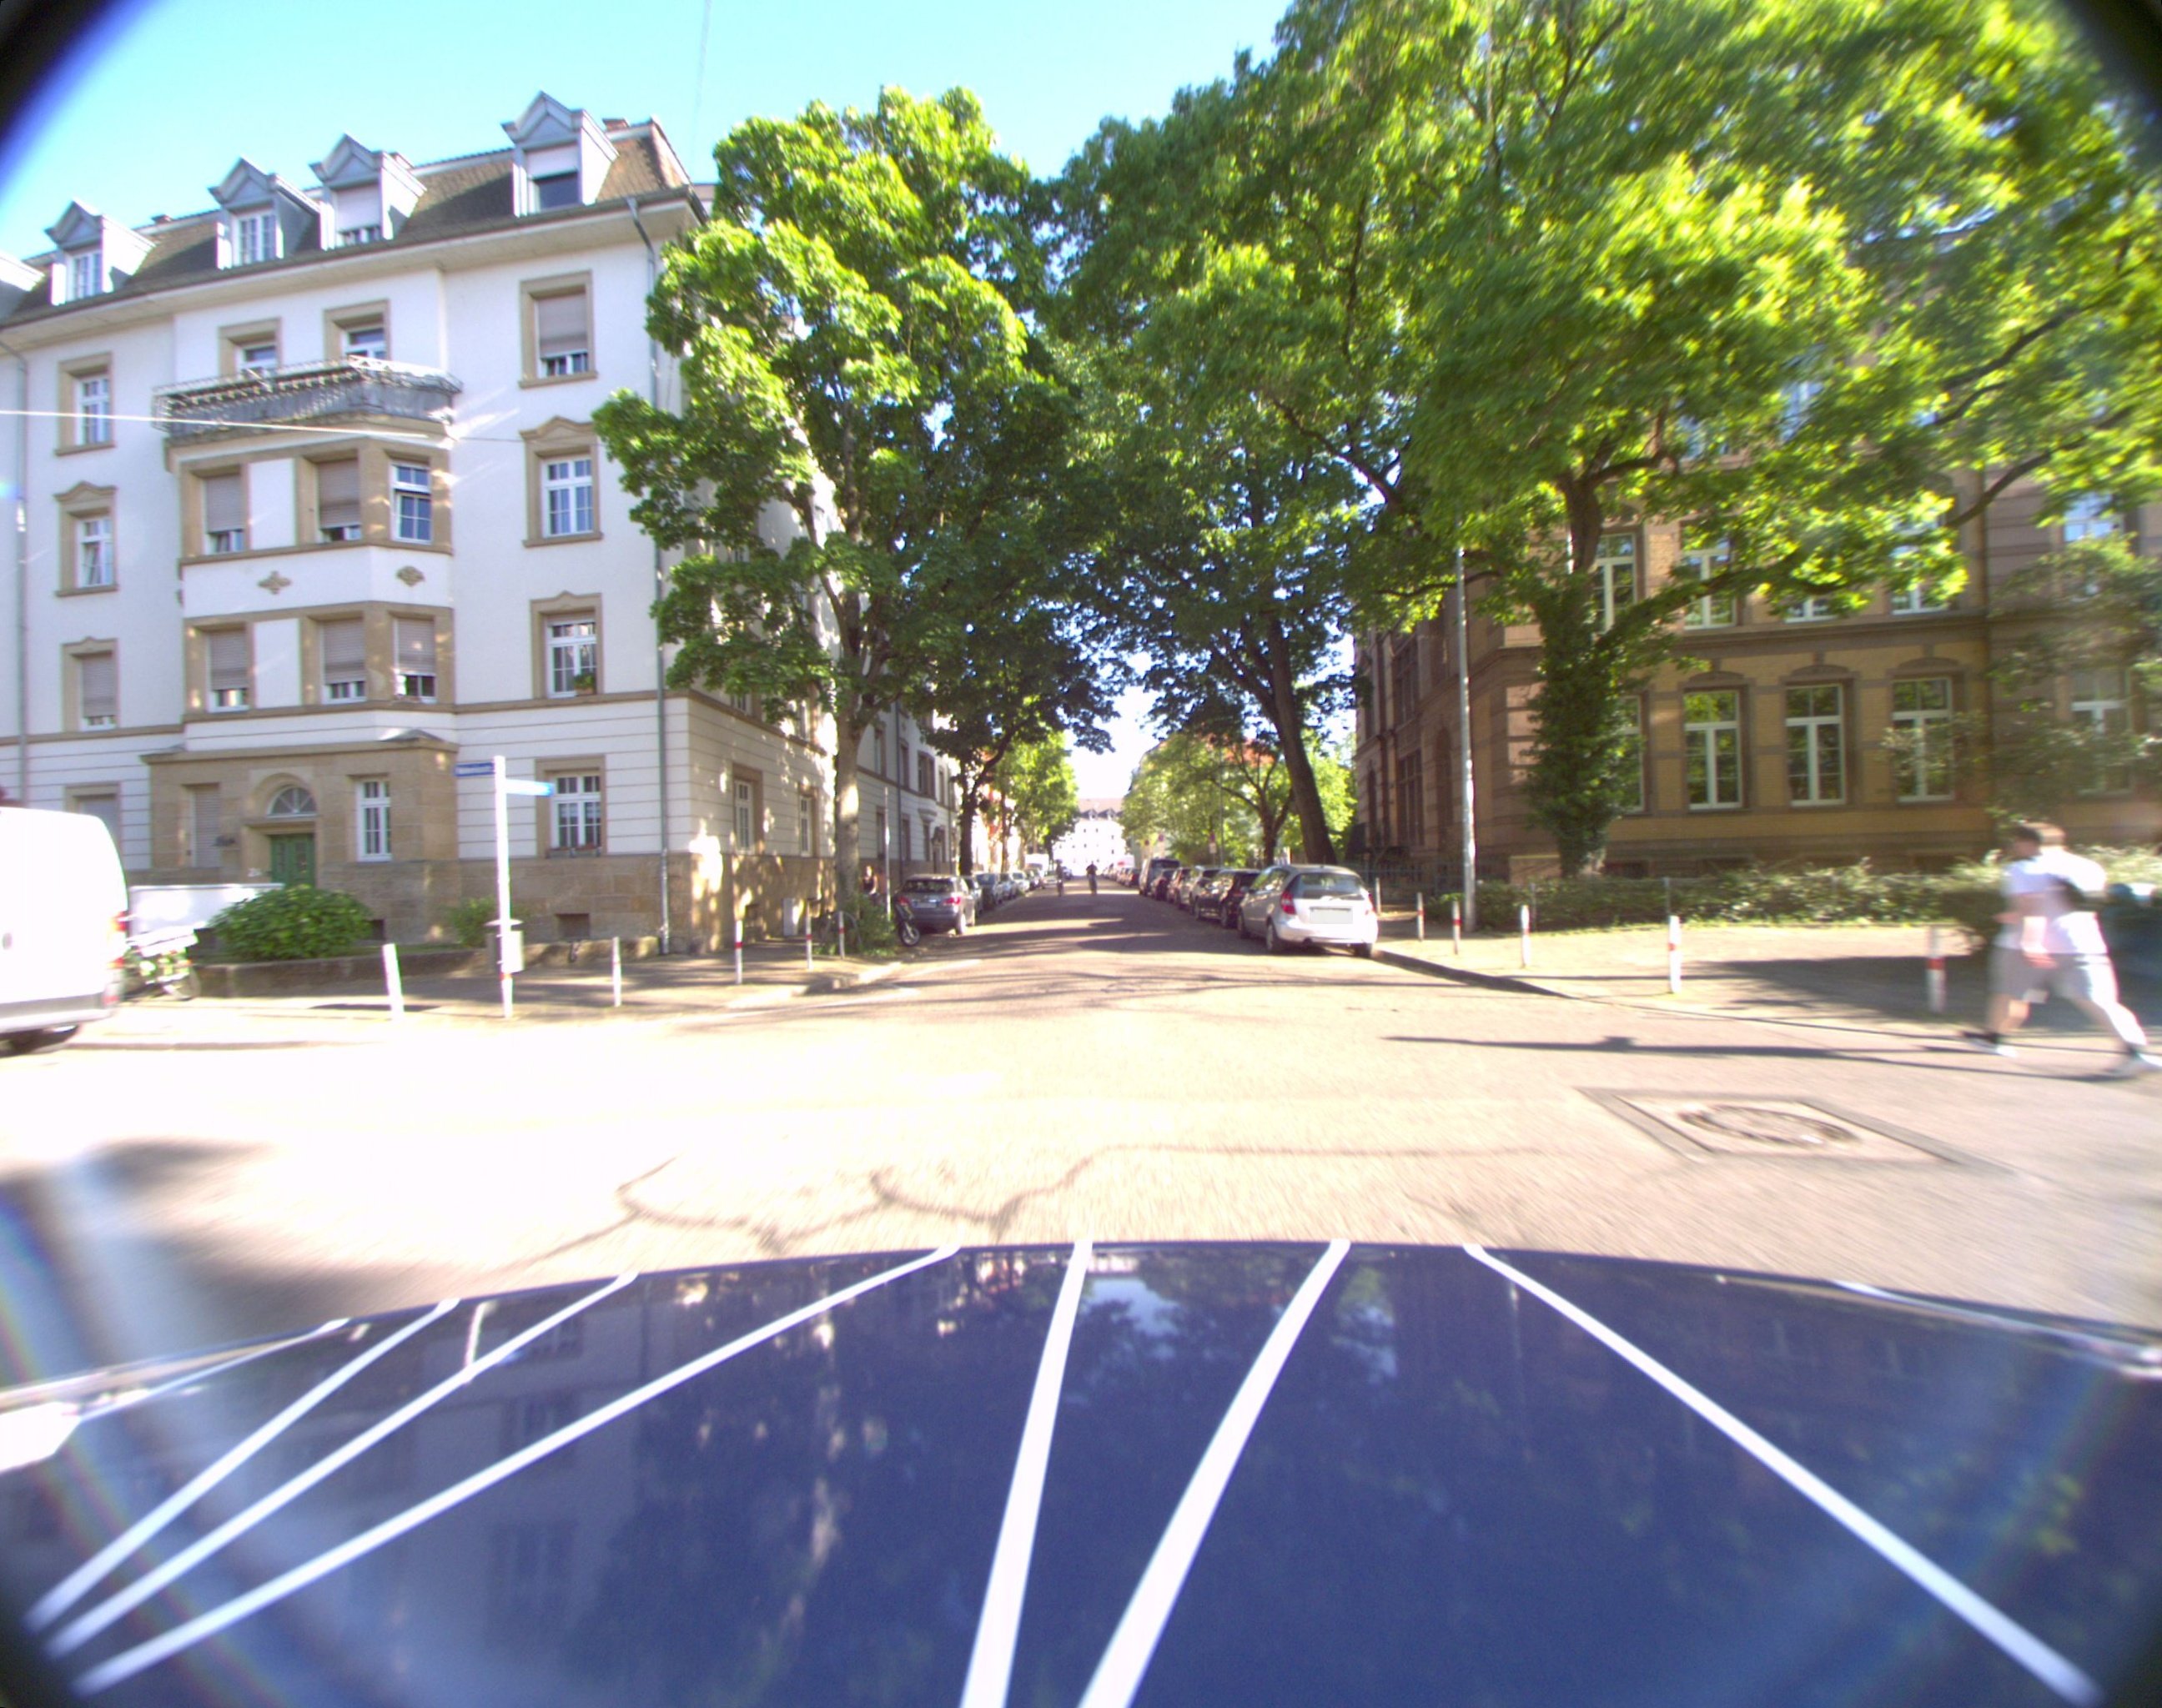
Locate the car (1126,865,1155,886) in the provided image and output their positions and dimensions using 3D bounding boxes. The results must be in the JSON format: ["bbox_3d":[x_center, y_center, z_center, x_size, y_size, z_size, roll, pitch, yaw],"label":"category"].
[{"bbox_3d":[4.248,1.521,54.733,1.739,1.455,4.000,-2,-1,0],"label":"car"}]

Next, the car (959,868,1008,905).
[{"bbox_3d":[-4.414,1.433,35.017,1.639,1.523,4.000,-2,-1,0],"label":"car"}]

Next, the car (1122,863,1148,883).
[{"bbox_3d":[4.285,1.497,61.086,1.755,1.464,4.000,-3,-1,0],"label":"car"}]

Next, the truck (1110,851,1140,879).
[{"bbox_3d":[4.486,1.130,78.877,2.395,2.641,7.093,-2,-1,-1],"label":"truck"}]

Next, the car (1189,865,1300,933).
[{"bbox_3d":[4.076,1.079,19.586,1.586,1.455,3.997,1,0,-6],"label":"car"}]

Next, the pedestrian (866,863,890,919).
[{"bbox_3d":[-6.810,1.225,25.459,0.529,1.834,0.707,-2,0,1],"label":"pedestrian"}]

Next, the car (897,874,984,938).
[{"bbox_3d":[-3.767,1.349,21.008,1.685,1.531,4.134,-1,-1,-1],"label":"car"}]

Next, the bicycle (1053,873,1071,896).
[{"bbox_3d":[-1.004,1.630,40.694,0.810,1.136,2.547,-2,-1,0],"label":"bicycle"}]

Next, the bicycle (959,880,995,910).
[{"bbox_3d":[-4.272,1.682,31.191,1.414,1.188,0.336,-2,0,-2],"label":"bicycle"}]

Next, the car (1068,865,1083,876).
[{"bbox_3d":[-0.890,2.602,120.301,2.146,1.757,4.810,-2,-1,1],"label":"car"}]

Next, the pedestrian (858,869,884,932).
[{"bbox_3d":[-5.843,1.276,21.162,0.520,1.708,0.516,-2,0,-2],"label":"pedestrian"}]

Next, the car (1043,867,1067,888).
[{"bbox_3d":[-1.969,1.815,59.200,1.654,1.448,4.000,-2,-1,0],"label":"car"}]

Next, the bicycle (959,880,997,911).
[{"bbox_3d":[-4.066,1.643,30.147,1.414,1.188,0.336,-2,0,-2],"label":"bicycle"}]

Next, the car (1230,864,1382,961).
[{"bbox_3d":[4.093,0.993,14.498,1.710,1.549,3.952,1,0,0],"label":"car"}]

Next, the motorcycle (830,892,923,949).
[{"bbox_3d":[-4.462,1.448,16.700,1.855,1.205,0.678,0,-2,-3],"label":"motorcycle"}]

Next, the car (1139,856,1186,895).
[{"bbox_3d":[4.227,1.105,40.255,1.998,1.946,5.043,0,-1,1],"label":"car"}]

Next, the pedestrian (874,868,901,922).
[{"bbox_3d":[-6.716,1.410,26.387,0.706,1.834,0.840,-2,0,-5],"label":"pedestrian"}]

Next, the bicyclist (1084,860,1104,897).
[{"bbox_3d":[0.675,1.295,40.633,0.967,1.903,1.139,-2,0,0],"label":"bicyclist"}]

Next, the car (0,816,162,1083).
[{"bbox_3d":[-12.769,0.968,7.395,5.656,2.453,2.307,-2,0,10],"label":"car"}]

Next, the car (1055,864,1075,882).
[{"bbox_3d":[-1.899,2.253,89.679,2.146,2.001,4.864,-2,-1,0],"label":"car"}]

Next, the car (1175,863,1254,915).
[{"bbox_3d":[4.223,1.086,24.575,1.793,1.524,4.000,1,-1,-1],"label":"car"}]

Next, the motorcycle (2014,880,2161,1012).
[{"bbox_3d":[9.713,0.819,6.827,0.543,1.095,1.897,-2,-1,9],"label":"motorcycle"}]

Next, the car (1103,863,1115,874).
[{"bbox_3d":[4.265,2.138,114.876,1.597,1.556,4.000,-2,-1,0],"label":"car"}]

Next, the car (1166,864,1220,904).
[{"bbox_3d":[4.366,1.158,29.964,1.624,1.455,3.311,-1,-1,0],"label":"car"}]

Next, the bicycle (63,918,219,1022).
[{"bbox_3d":[-12.715,1.539,10.277,1.867,1.283,0.639,-2,0,17],"label":"bicycle"}]

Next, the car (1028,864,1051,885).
[{"bbox_3d":[-3.556,1.739,65.754,1.660,1.674,4.083,-2,-1,0],"label":"car"}]

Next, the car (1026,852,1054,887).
[{"bbox_3d":[-3.803,1.438,71.348,1.998,2.983,6.240,-5,-1,0],"label":"car"}]

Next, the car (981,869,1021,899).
[{"bbox_3d":[-4.238,1.591,40.791,1.651,1.433,4.000,-2,-1,0],"label":"car"}]

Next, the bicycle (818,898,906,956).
[{"bbox_3d":[-4.565,1.496,15.831,1.795,1.155,0.434,-1,0,16],"label":"bicycle"}]

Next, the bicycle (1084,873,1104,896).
[{"bbox_3d":[0.687,1.592,40.667,0.985,1.136,2.547,-2,-1,0],"label":"bicycle"}]

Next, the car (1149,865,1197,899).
[{"bbox_3d":[4.147,1.251,34.769,1.731,1.455,3.845,-1,-1,0],"label":"car"}]

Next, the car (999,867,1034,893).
[{"bbox_3d":[-4.196,1.682,49.838,1.824,1.521,4.000,-2,-1,0],"label":"car"}]

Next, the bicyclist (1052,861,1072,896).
[{"bbox_3d":[-1.006,1.306,40.686,0.934,1.808,1.078,-2,0,0],"label":"bicyclist"}]

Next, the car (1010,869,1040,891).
[{"bbox_3d":[-4.000,1.842,55.033,1.812,1.411,4.000,-2,-1,0],"label":"car"}]

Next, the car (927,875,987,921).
[{"bbox_3d":[-4.277,1.479,26.661,1.728,1.398,3.855,-1,-1,-5],"label":"car"}]

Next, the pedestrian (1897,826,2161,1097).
[{"bbox_3d":[6.743,0.700,5.389,0.804,1.735,1.007,-2,0,7],"label":"pedestrian"}]

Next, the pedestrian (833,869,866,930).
[{"bbox_3d":[-6.522,1.265,21.462,0.624,1.674,0.818,-2,0,0],"label":"pedestrian"}]

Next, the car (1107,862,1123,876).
[{"bbox_3d":[4.472,1.929,99.029,1.809,1.791,4.190,-2,-1,0],"label":"car"}]
